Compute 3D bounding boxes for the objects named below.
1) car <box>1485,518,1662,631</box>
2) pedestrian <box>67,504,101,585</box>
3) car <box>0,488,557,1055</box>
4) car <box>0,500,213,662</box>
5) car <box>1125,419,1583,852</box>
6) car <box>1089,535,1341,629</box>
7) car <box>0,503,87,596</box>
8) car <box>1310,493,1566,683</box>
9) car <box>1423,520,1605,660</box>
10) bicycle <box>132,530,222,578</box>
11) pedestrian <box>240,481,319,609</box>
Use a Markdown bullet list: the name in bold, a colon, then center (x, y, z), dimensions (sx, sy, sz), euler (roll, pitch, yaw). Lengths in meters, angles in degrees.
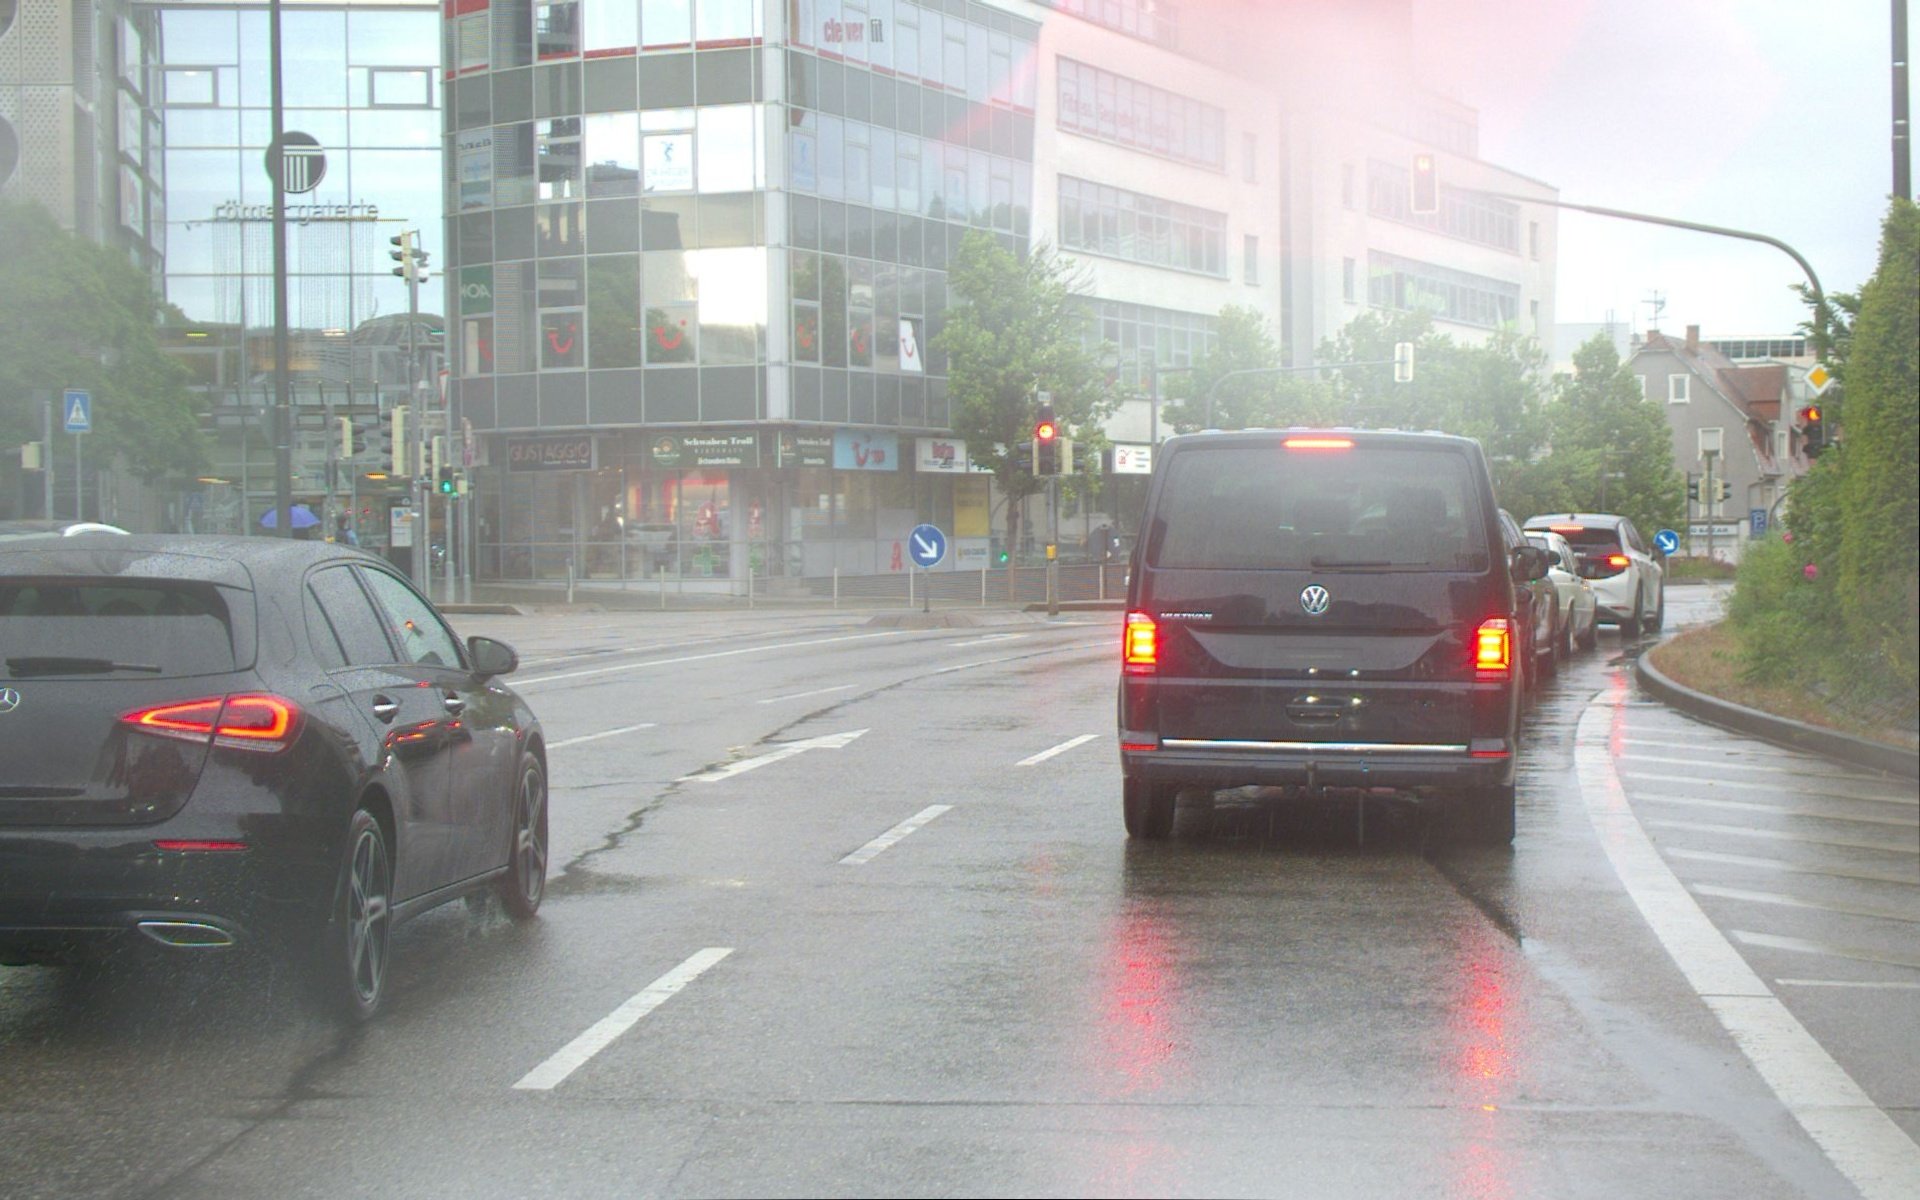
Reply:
- **car**: center (7.930, -0.352, 44.238), dimensions (1.913, 1.395, 3.455), euler (0, 1, 16)
- **pedestrian**: center (-21.624, -1.370, 84.878), dimensions (0.762, 2.007, 0.714), euler (0, 1, -17)
- **car**: center (-2.526, 0.412, 11.369), dimensions (1.815, 1.524, 3.812), euler (2, 2, 1)
- **car**: center (-9.090, -0.236, 33.418), dimensions (1.843, 1.455, 4.807), euler (1, 1, 11)
- **car**: center (2.060, 0.113, 17.487), dimensions (1.996, 1.887, 4.586), euler (1, 1, 8)
- **car**: center (4.774, -0.353, 64.094), dimensions (4.491, 1.676, 1.891), euler (0, 2, -35)
- **car**: center (-17.546, -0.912, 59.962), dimensions (4.192, 1.590, 1.870), euler (1, 1, -1)
- **car**: center (4.483, -0.159, 31.749), dimensions (1.902, 1.615, 4.333), euler (1, 1, 14)
- **car**: center (6.198, -0.125, 38.160), dimensions (1.635, 1.443, 4.266), euler (1, 1, 14)
- **bicycle**: center (-20.703, -1.211, 90.941), dimensions (2.273, 1.242, 0.677), euler (-1, 1, -9)
- **pedestrian**: center (-10.835, -0.884, 54.724), dimensions (1.162, 2.007, 1.329), euler (0, 1, -14)
